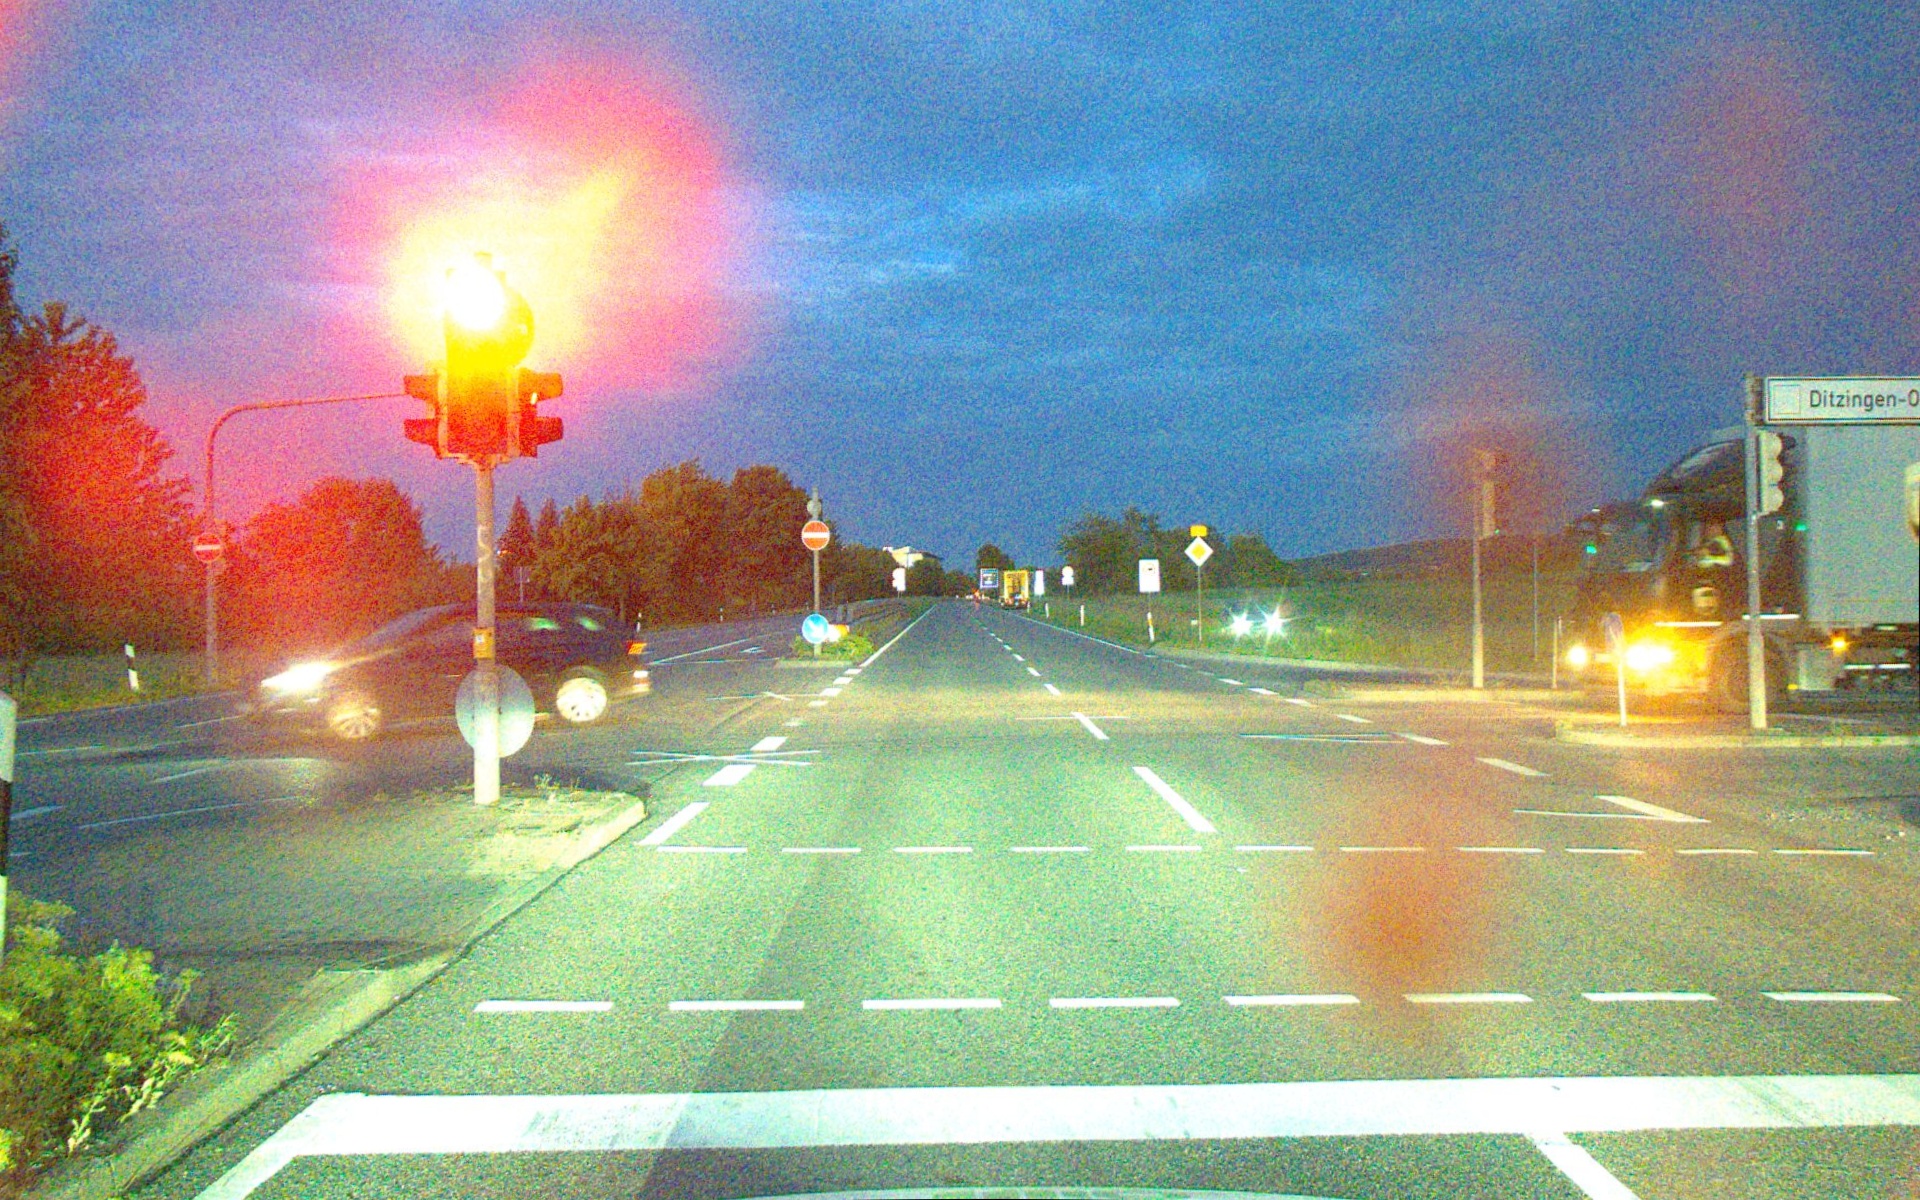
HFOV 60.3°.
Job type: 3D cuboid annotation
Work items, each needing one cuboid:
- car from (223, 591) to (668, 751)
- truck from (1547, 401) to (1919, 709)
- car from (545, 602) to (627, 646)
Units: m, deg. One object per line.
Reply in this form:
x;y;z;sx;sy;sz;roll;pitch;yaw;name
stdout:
-5.917;0.737;19.246;4.564;1.547;1.975;-2;0;-36;car
13.828;-0.673;23.750;9.844;4.049;2.922;-1;0;-5;truck
-12.955;0.798;57.509;1.953;1.411;3.999;-1;0;-1;car
